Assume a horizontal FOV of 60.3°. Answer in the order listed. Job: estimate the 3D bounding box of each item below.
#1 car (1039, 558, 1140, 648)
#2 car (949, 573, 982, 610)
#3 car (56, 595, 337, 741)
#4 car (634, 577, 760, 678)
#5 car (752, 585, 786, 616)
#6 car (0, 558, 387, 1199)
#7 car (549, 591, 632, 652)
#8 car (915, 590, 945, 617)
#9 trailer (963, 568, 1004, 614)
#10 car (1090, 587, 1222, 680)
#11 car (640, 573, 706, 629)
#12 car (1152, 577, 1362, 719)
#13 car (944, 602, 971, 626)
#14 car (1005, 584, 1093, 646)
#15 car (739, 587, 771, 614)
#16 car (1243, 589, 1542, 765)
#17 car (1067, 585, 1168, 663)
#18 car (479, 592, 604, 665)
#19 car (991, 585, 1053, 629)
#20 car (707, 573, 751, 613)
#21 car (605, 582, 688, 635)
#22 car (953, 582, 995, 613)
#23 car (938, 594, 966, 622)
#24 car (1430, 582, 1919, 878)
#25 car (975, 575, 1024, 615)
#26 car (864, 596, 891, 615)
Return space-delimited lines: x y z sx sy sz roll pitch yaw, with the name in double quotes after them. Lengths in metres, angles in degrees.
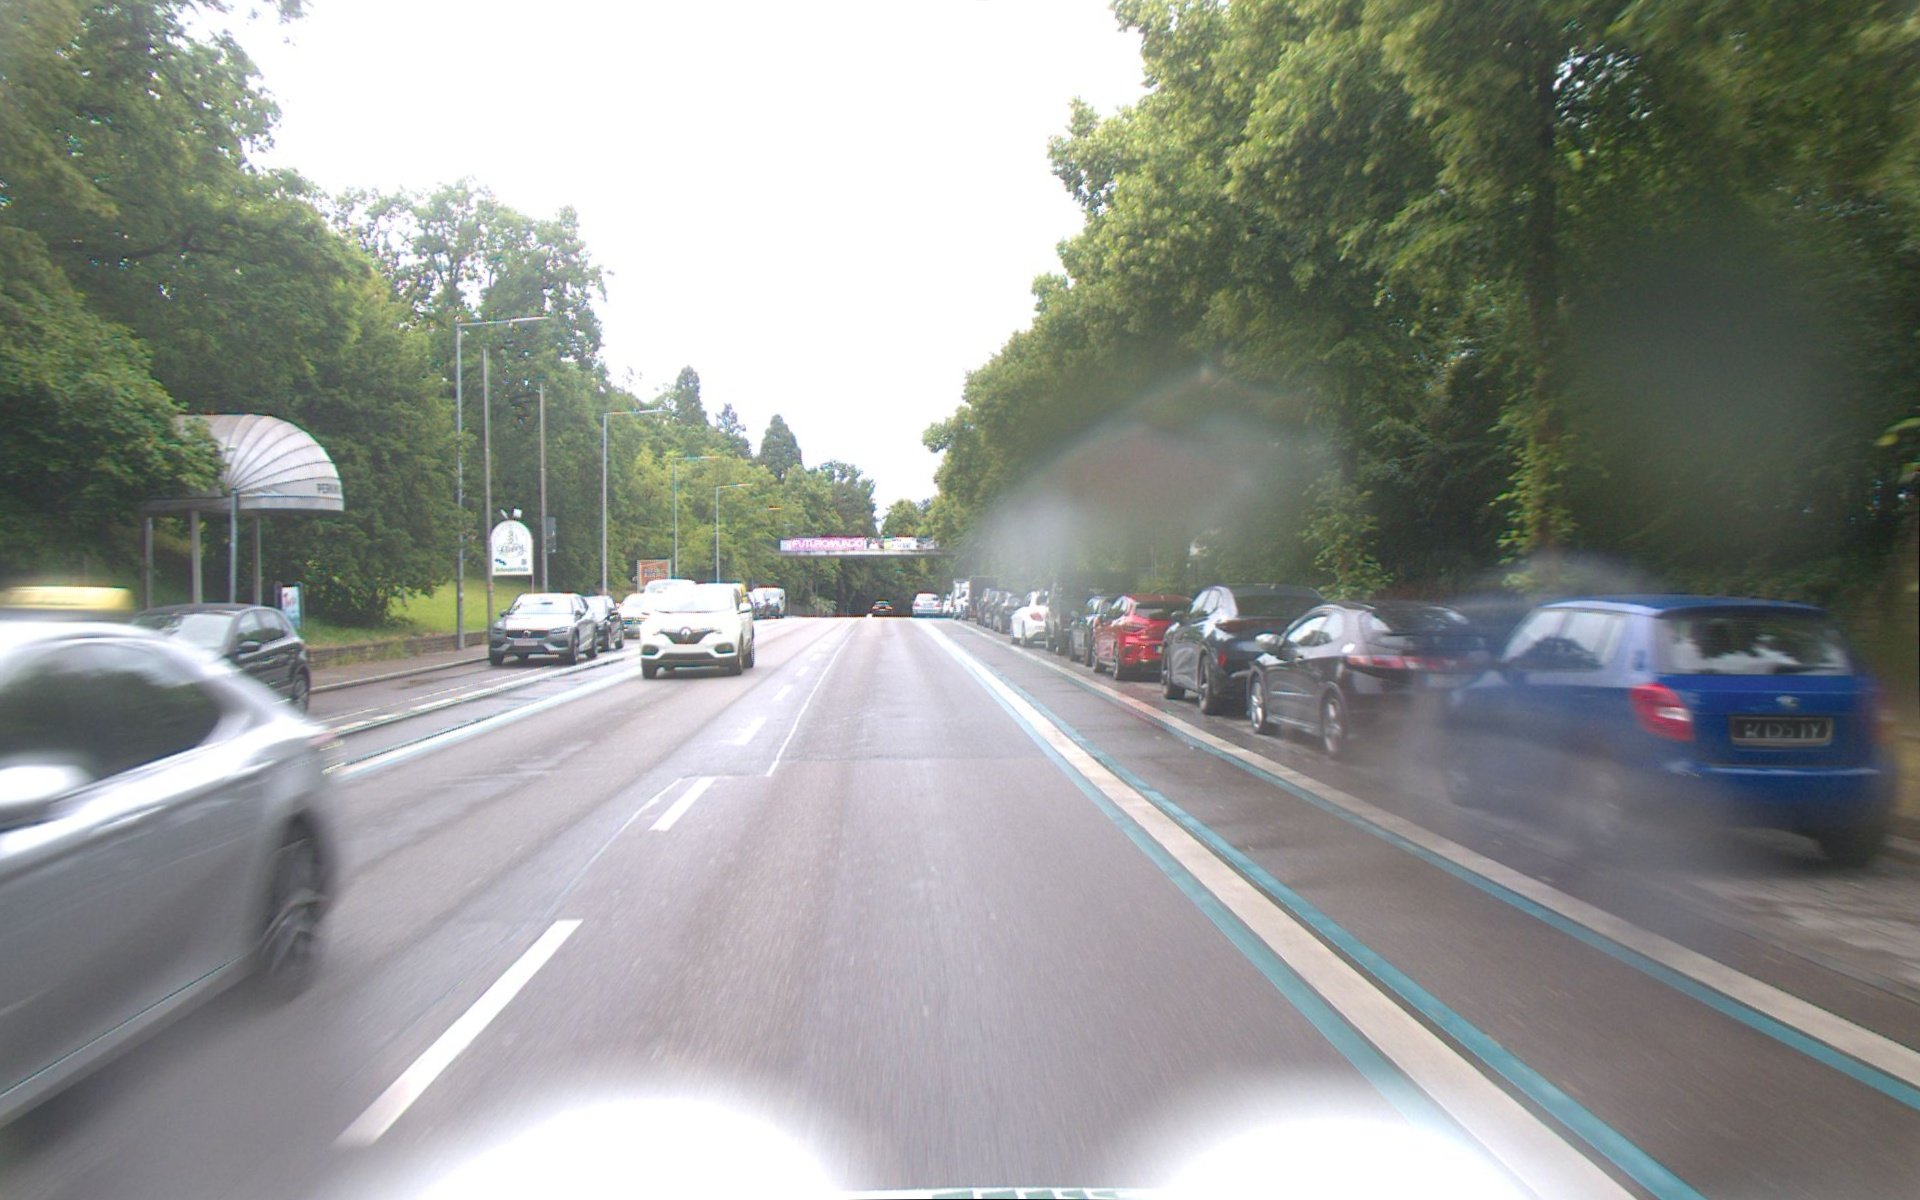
3.065 0.040 40.036 1.888 2.057 4.661 0 1 -3 "car"
0.300 -0.508 99.949 1.851 2.164 4.044 0 0 -2 "car"
-8.838 0.711 19.523 1.637 1.483 3.990 -1 1 -4 "car"
-4.790 0.444 30.611 1.759 1.680 4.127 -2 1 -2 "car"
-12.513 0.014 108.487 1.721 1.965 4.193 -1 1 0 "car"
-3.306 0.712 4.699 1.883 1.588 4.618 -2 1 -3 "car"
-9.796 0.531 44.109 1.662 1.462 4.050 -1 1 -6 "car"
-1.839 0.200 100.283 1.696 1.611 4.034 -1 0 -3 "car"
1.147 -0.449 83.124 1.846 2.203 3.806 -1 0 -2 "trailer"
3.388 0.544 29.316 1.652 1.478 4.164 1 1 -3 "car"
-10.781 -0.011 62.409 1.875 1.965 4.925 -1 1 -3 "car"
3.721 0.533 21.505 1.721 1.617 4.496 1 1 -3 "car"
-0.171 0.943 111.976 1.696 1.488 4.043 -1 0 -2 "car"
2.344 0.377 44.912 1.754 1.570 4.885 1 0 -4 "car"
-12.506 0.007 101.038 1.834 1.569 4.050 -1 1 -6 "car"
4.112 0.657 16.426 1.652 1.481 4.143 1 1 -3 "car"
3.203 0.451 34.220 1.574 1.478 3.745 1 1 -3 "car"
-9.319 0.587 37.232 2.037 1.508 4.668 0 1 -6 "car"
2.174 0.209 59.033 1.697 1.489 4.273 0 1 -4 "car"
-11.767 -0.393 84.557 1.846 1.979 4.822 -1 1 -4 "car"
-10.562 0.237 55.970 1.950 1.633 4.983 -1 1 -2 "car"
0.712 -0.141 87.220 1.698 1.611 4.147 -1 0 -7 "car"
-0.520 0.492 105.333 1.696 1.713 4.043 -1 0 -2 "car"
4.489 0.675 10.697 1.652 1.540 3.833 1 1 -3 "car"
1.663 -0.217 70.941 1.697 1.611 4.151 1 0 -4 "car"
-7.004 0.432 140.101 2.099 1.518 4.492 0 1 -6 "car"
